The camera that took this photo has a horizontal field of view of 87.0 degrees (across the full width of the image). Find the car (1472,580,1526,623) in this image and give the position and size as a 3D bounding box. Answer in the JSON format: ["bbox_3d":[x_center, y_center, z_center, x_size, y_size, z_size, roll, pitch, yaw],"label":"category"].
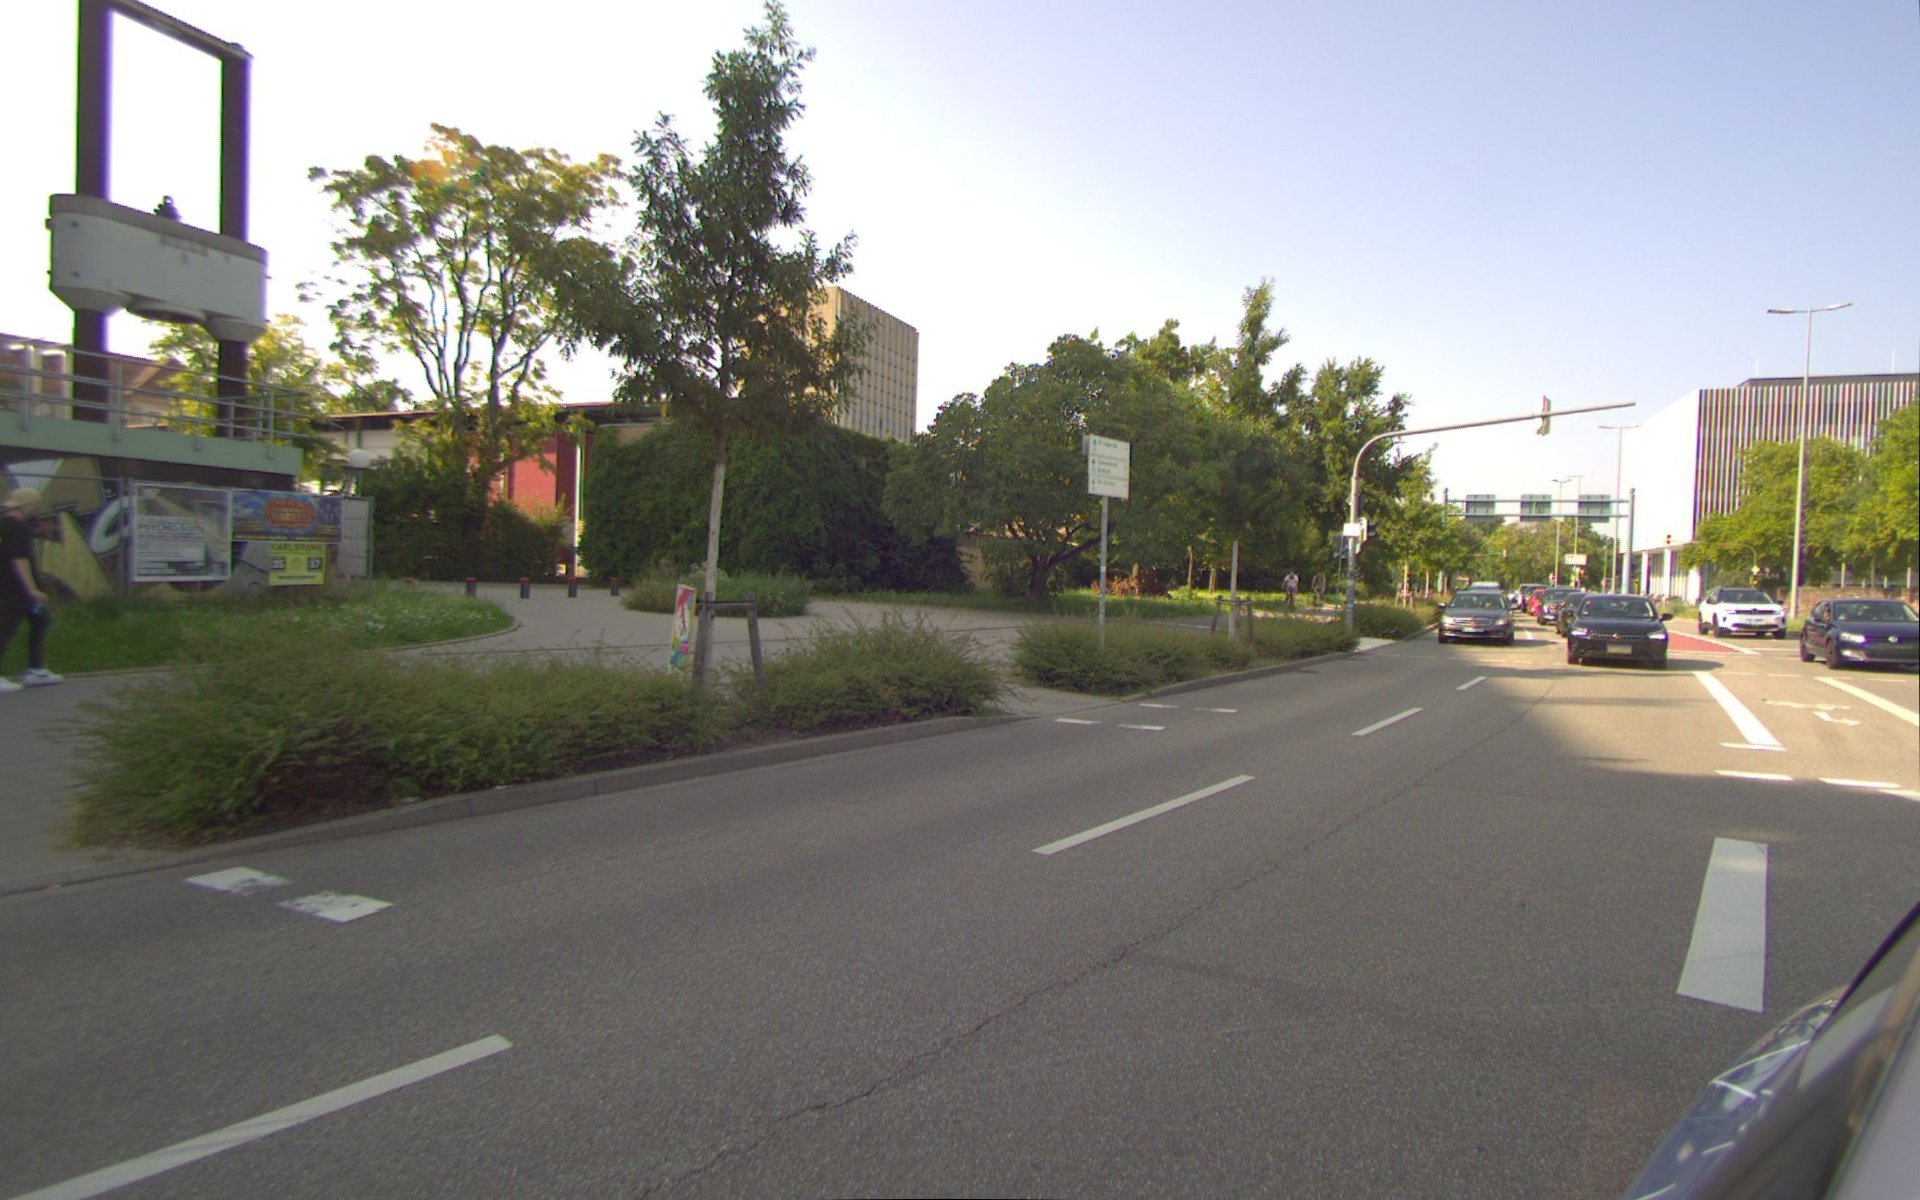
[{"bbox_3d":[20.552,0.010,38.643,1.673,1.510,4.627,3,2,28],"label":"car"}]

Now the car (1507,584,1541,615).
[{"bbox_3d":[38.871,-0.080,69.779,1.671,1.965,4.039,3,2,25],"label":"car"}]

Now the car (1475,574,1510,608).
[{"bbox_3d":[32.973,-0.581,62.705,1.671,1.965,4.333,3,2,26],"label":"car"}]

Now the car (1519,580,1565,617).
[{"bbox_3d":[29.342,-0.124,51.153,1.767,1.625,4.380,3,3,28],"label":"car"}]

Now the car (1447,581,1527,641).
[{"bbox_3d":[14.790,0.249,28.277,1.675,1.460,4.324,3,2,31],"label":"car"}]

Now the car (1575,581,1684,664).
[{"bbox_3d":[14.036,0.385,21.420,1.675,1.510,4.324,3,2,31],"label":"car"}]

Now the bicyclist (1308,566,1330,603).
[{"bbox_3d":[15.948,-0.705,44.953,0.766,1.612,0.916,2,1,26],"label":"bicyclist"}]

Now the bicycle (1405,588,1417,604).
[{"bbox_3d":[34.056,-0.339,76.454,0.765,1.131,2.286,2,2,23],"label":"bicycle"}]

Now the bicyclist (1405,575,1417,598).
[{"bbox_3d":[34.114,-1.001,76.533,0.765,1.697,0.917,2,1,23],"label":"bicyclist"}]

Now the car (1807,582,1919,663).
[{"bbox_3d":[18.768,0.403,20.702,1.613,1.516,3.807,0,1,31],"label":"car"}]

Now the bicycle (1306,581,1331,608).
[{"bbox_3d":[15.955,-0.256,44.997,0.766,1.131,2.283,2,2,26],"label":"bicycle"}]

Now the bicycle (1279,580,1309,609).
[{"bbox_3d":[13.731,-0.244,41.573,0.766,1.131,2.282,3,2,27],"label":"bicycle"}]

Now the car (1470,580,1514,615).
[{"bbox_3d":[25.022,-0.139,47.600,1.673,1.510,4.330,3,2,28],"label":"car"}]

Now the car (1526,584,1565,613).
[{"bbox_3d":[33.019,-0.097,57.149,1.673,1.510,4.330,3,2,28],"label":"car"}]

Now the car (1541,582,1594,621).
[{"bbox_3d":[26.206,0.031,43.760,1.673,1.510,4.330,3,2,28],"label":"car"}]

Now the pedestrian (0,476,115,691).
[{"bbox_3d":[-8.267,-0.174,8.988,0.956,1.804,0.989,5,3,38],"label":"pedestrian"}]

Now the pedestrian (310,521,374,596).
[{"bbox_3d":[-15.247,-1.024,24.992,0.994,1.755,0.952,5,3,28],"label":"pedestrian"}]

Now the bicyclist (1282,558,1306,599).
[{"bbox_3d":[13.690,-0.877,41.456,0.766,1.612,0.915,3,2,28],"label":"bicyclist"}]

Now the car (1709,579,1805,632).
[{"bbox_3d":[26.332,0.150,33.582,1.984,1.654,4.323,0,0,32],"label":"car"}]
